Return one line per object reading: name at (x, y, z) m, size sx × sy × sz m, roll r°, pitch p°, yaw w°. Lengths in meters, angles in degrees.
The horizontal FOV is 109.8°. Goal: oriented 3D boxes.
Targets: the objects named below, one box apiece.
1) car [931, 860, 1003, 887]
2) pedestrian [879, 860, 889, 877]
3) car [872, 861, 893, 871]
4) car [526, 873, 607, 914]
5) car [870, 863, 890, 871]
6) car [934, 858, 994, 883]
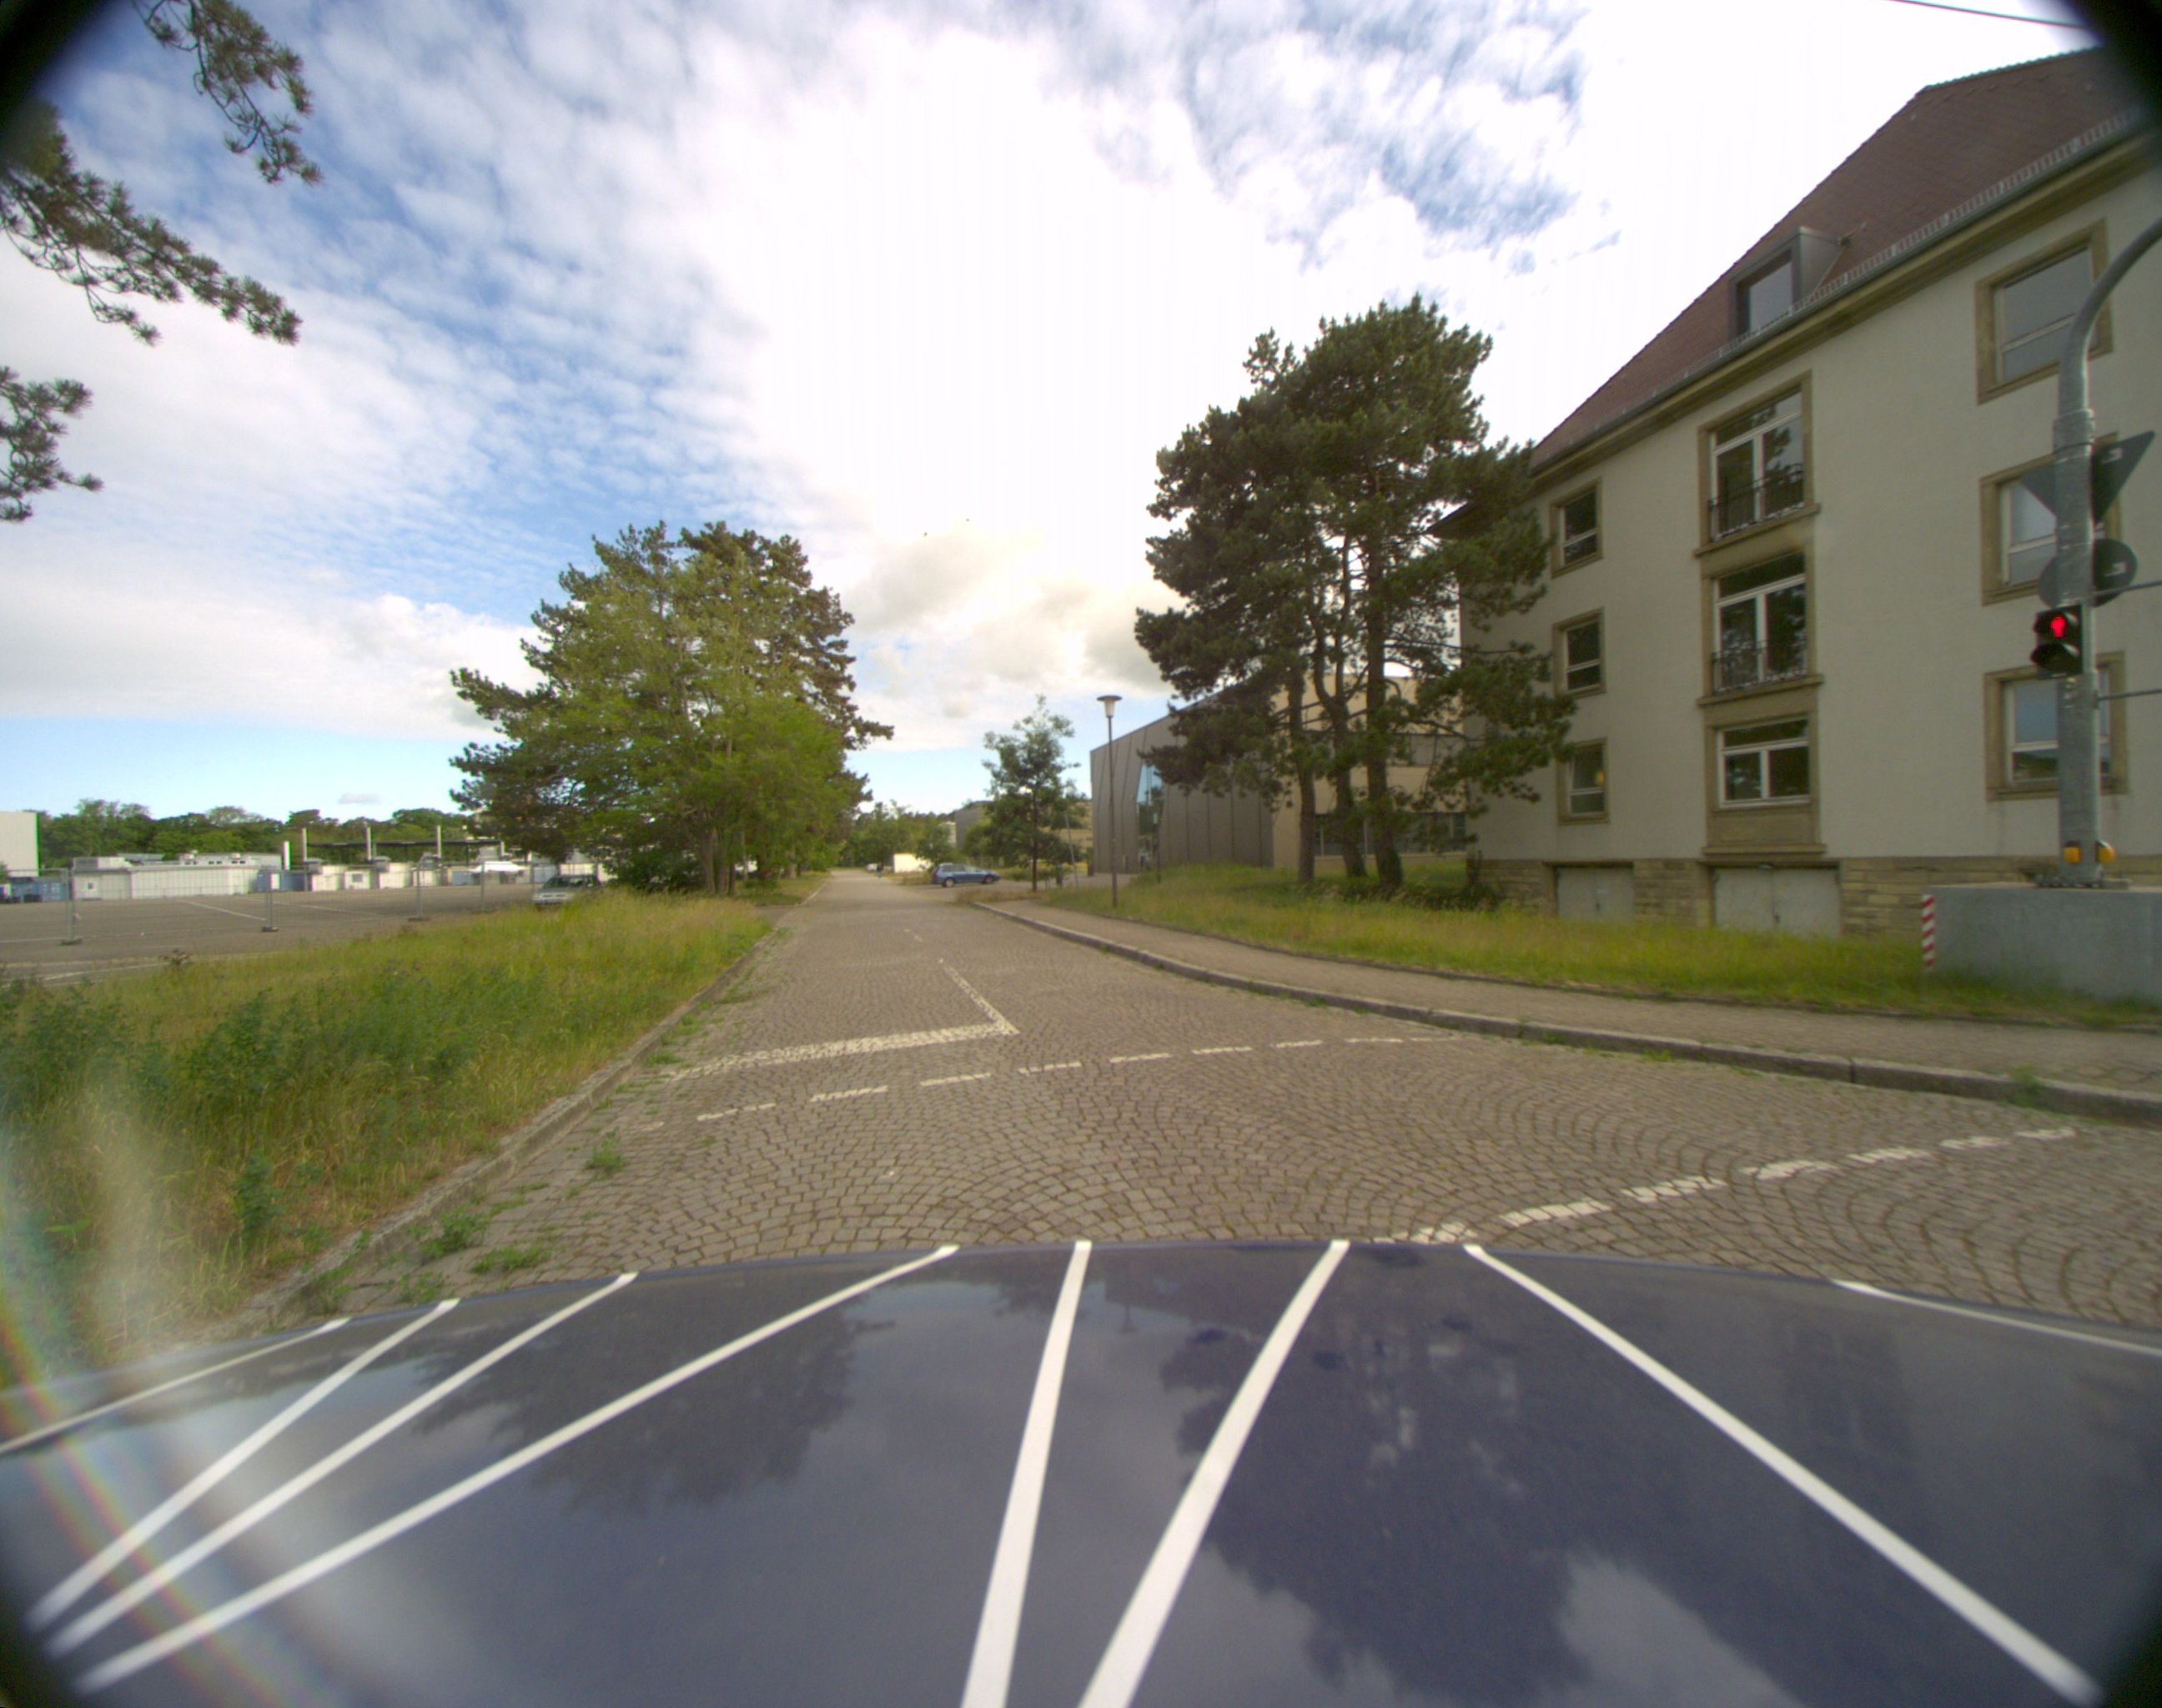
car at (-7.620, 1.260, 50.829) m, size 4.421 × 1.455 × 1.835 m, roll -4°, pitch 1°, yaw -20°
pedestrian at (-20.313, 1.503, 78.383) m, size 0.876 × 1.713 × 1.006 m, roll -2°, pitch 1°, yaw -12°
car at (-41.851, 2.533, 160.084) m, size 4.084 × 1.828 × 1.783 m, roll -2°, pitch 0°, yaw -15°
car at (-21.078, 1.569, 31.319) m, size 1.866 × 1.465 × 4.143 m, roll -1°, pitch 0°, yaw -21°
car at (-42.834, 2.705, 162.153) m, size 4.084 × 1.565 × 1.783 m, roll -2°, pitch 0°, yaw -15°
car at (-8.966, 1.207, 58.183) m, size 4.199 × 1.577 × 1.835 m, roll -4°, pitch 1°, yaw -20°
